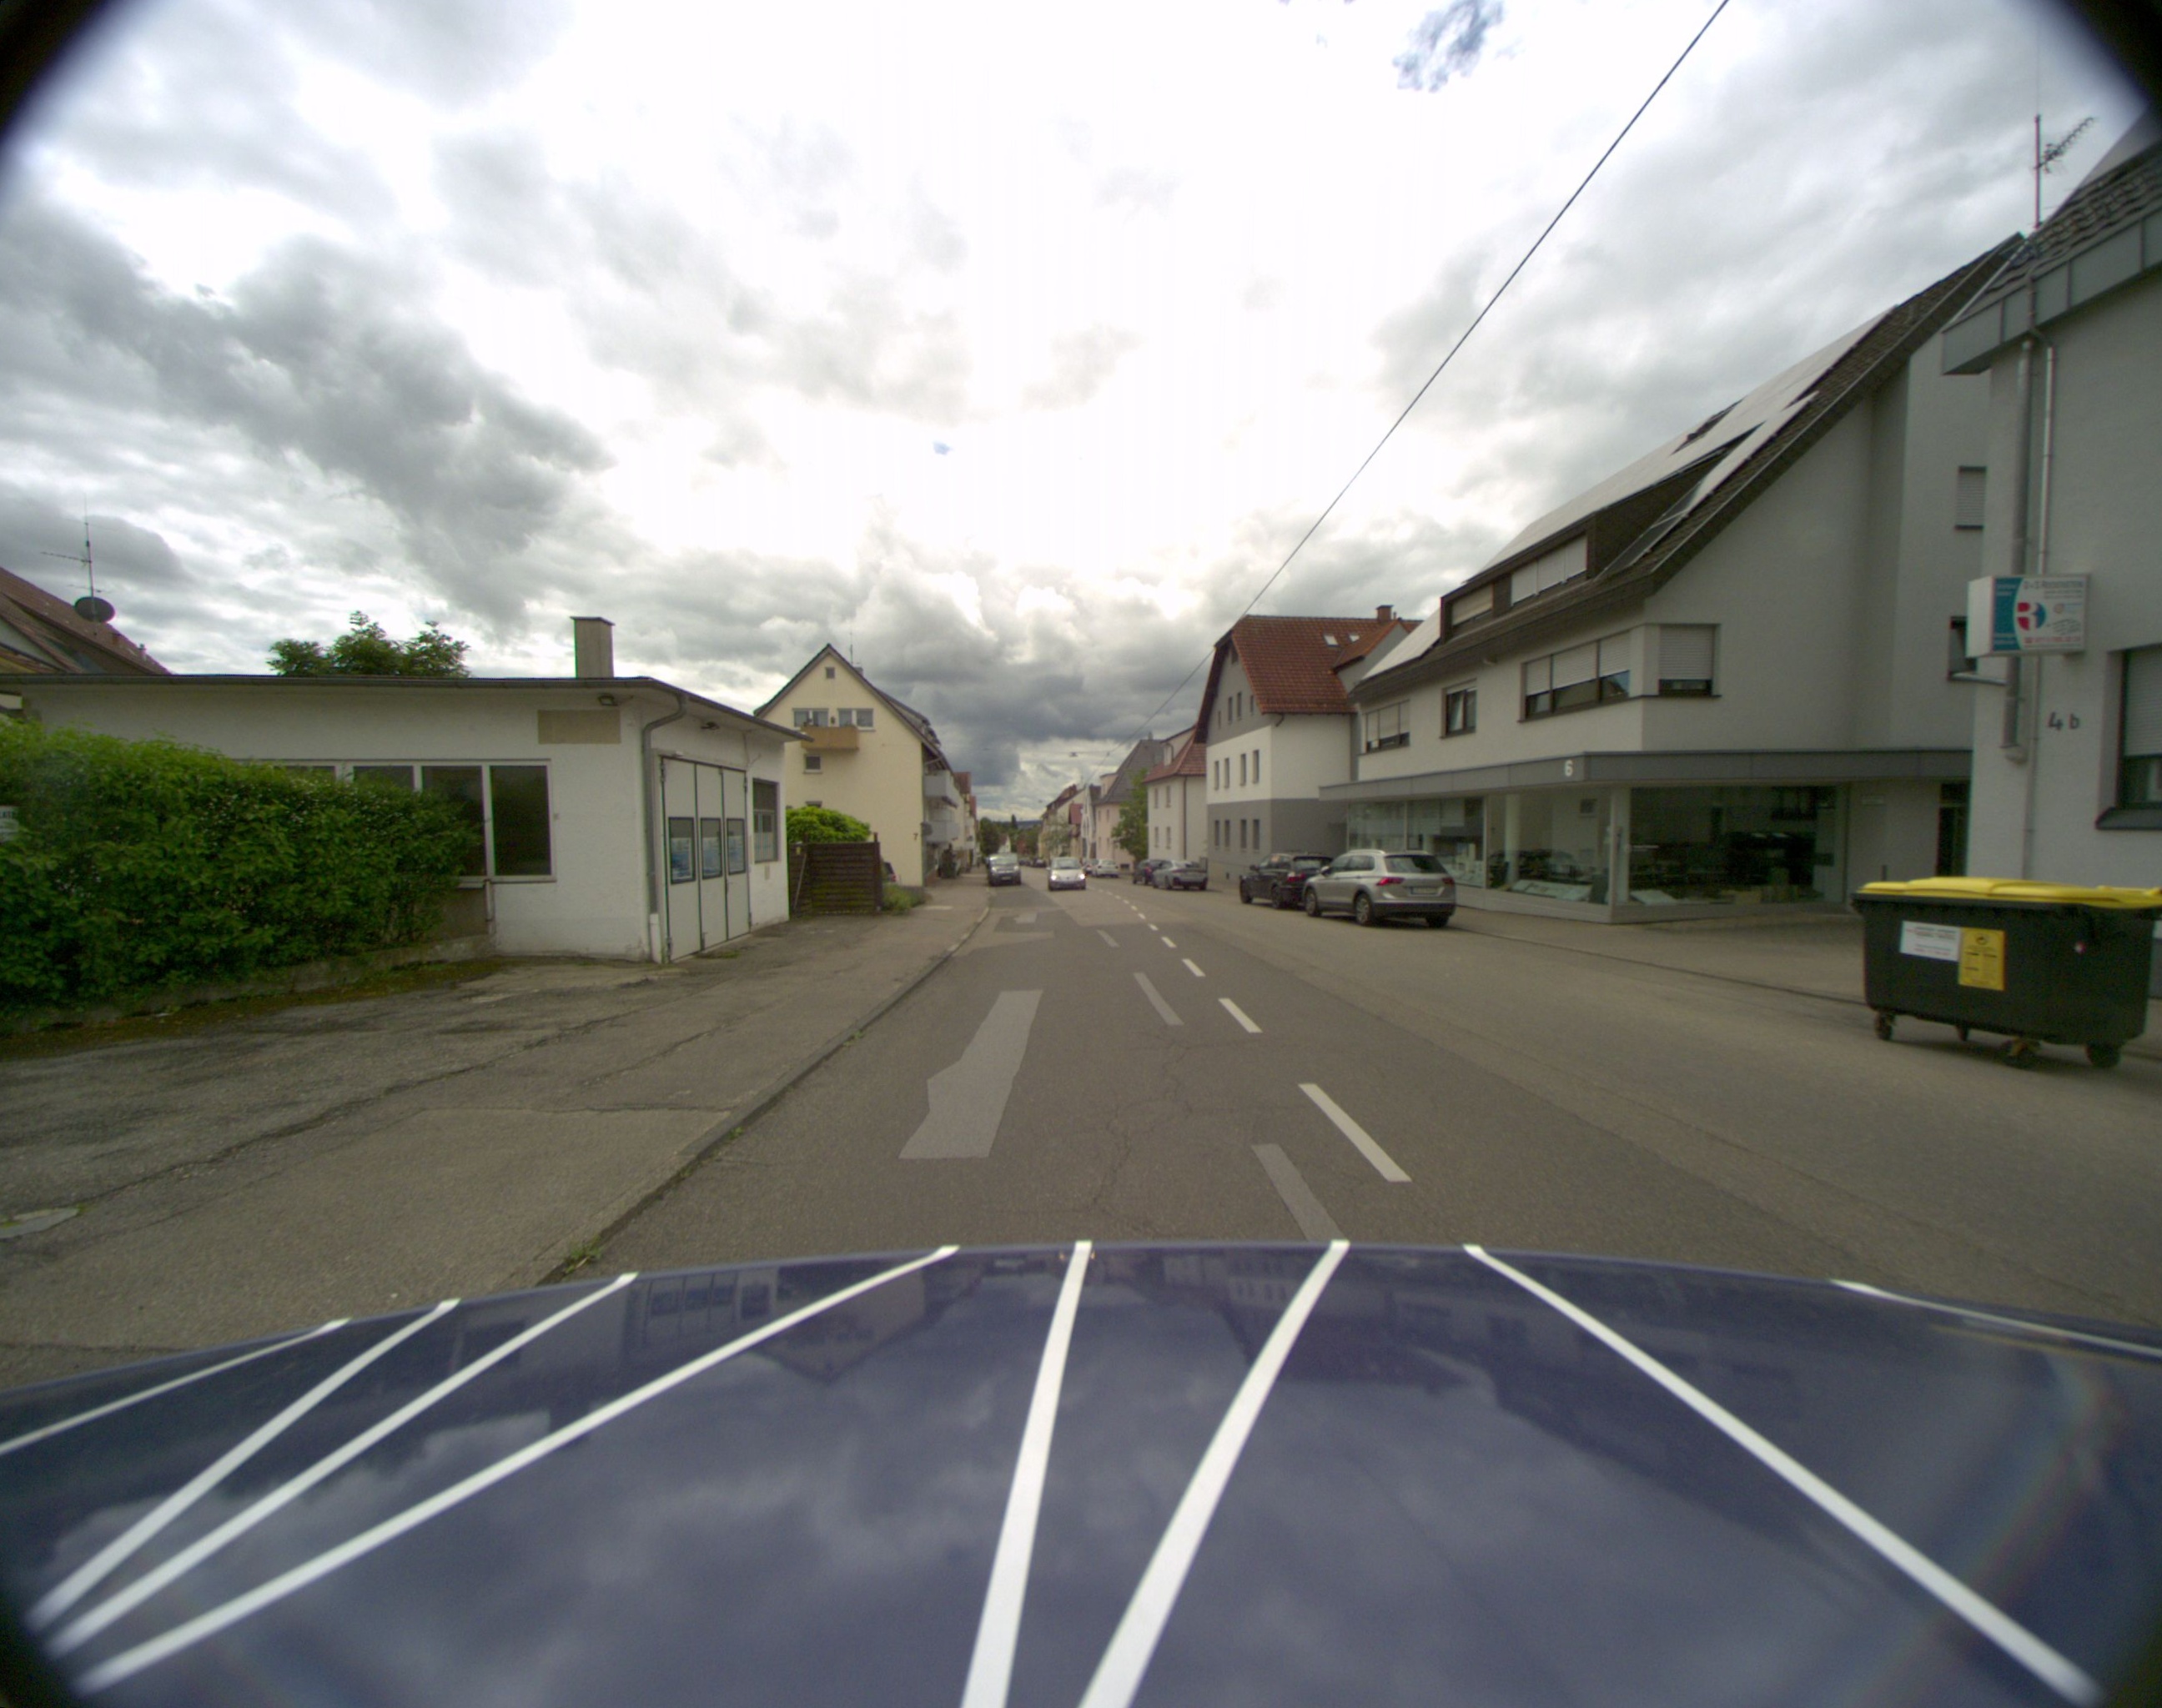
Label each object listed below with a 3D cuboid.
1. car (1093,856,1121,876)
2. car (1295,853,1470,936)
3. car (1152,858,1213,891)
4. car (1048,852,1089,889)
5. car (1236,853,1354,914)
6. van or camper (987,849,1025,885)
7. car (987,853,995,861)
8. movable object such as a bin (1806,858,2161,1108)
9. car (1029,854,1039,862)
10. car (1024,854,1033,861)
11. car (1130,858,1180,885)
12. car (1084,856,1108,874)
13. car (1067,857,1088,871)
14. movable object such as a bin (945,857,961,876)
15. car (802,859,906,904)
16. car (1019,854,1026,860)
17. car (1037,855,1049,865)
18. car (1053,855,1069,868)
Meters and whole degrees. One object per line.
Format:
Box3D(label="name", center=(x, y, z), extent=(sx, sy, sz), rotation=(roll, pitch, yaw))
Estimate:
Box3D(label="car", center=(1.998, 0.912, 59.693), extent=(1.654, 1.438, 3.809), rotation=(0, 0, -7))
Box3D(label="car", center=(6.614, 0.805, 17.265), extent=(1.843, 1.623, 4.405), rotation=(0, 0, -6))
Box3D(label="car", center=(4.806, 0.947, 36.623), extent=(1.843, 1.437, 4.465), rotation=(1, 0, -7))
Box3D(label="car", center=(-0.669, 0.761, 37.174), extent=(1.722, 1.587, 3.998), rotation=(-3, 1, -4))
Box3D(label="car", center=(6.235, 0.791, 22.683), extent=(1.843, 1.623, 4.405), rotation=(1, 0, -6))
Box3D(label="van or camper", center=(-4.663, 0.745, 46.794), extent=(2.000, 2.002, 5.060), rotation=(-4, 1, -8))
Box3D(label="car", center=(-21.478, 0.722, 181.146), extent=(1.614, 1.789, 3.856), rotation=(-3, 1, -7))
Box3D(label="movable object such as a bin", center=(6.872, 0.850, 5.793), extent=(1.143, 1.623, 1.562), rotation=(0, 0, -6))
Box3D(label="car", center=(-9.529, 0.882, 153.802), extent=(1.707, 1.524, 3.733), rotation=(2, 0, -7))
Box3D(label="car", center=(-12.097, 0.811, 174.685), extent=(1.707, 1.524, 3.733), rotation=(2, 0, -7))
Box3D(label="car", center=(4.159, 0.946, 43.304), extent=(1.843, 1.437, 3.996), rotation=(1, 0, -9))
Box3D(label="car", center=(1.238, 0.918, 64.677), extent=(1.654, 1.438, 3.772), rotation=(0, 0, -4))
Box3D(label="car", center=(-0.399, 1.026, 79.536), extent=(1.707, 1.402, 3.733), rotation=(2, 0, -7))
Box3D(label="movable object such as a bin", center=(-9.899, 0.959, 58.690), extent=(1.083, 1.428, 1.259), rotation=(-3, 1, -7))
Box3D(label="car", center=(-8.166, 0.954, 27.288), extent=(3.328, 1.510, 1.700), rotation=(0, 0, -26))
Box3D(label="car", center=(-16.012, 0.836, 207.721), extent=(1.707, 1.524, 3.733), rotation=(2, 0, -7))
Box3D(label="car", center=(-6.439, 0.985, 128.469), extent=(1.707, 1.524, 3.733), rotation=(2, 0, -7))
Box3D(label="car", center=(-2.550, 0.952, 96.530), extent=(1.707, 1.524, 3.733), rotation=(2, 0, -7))
